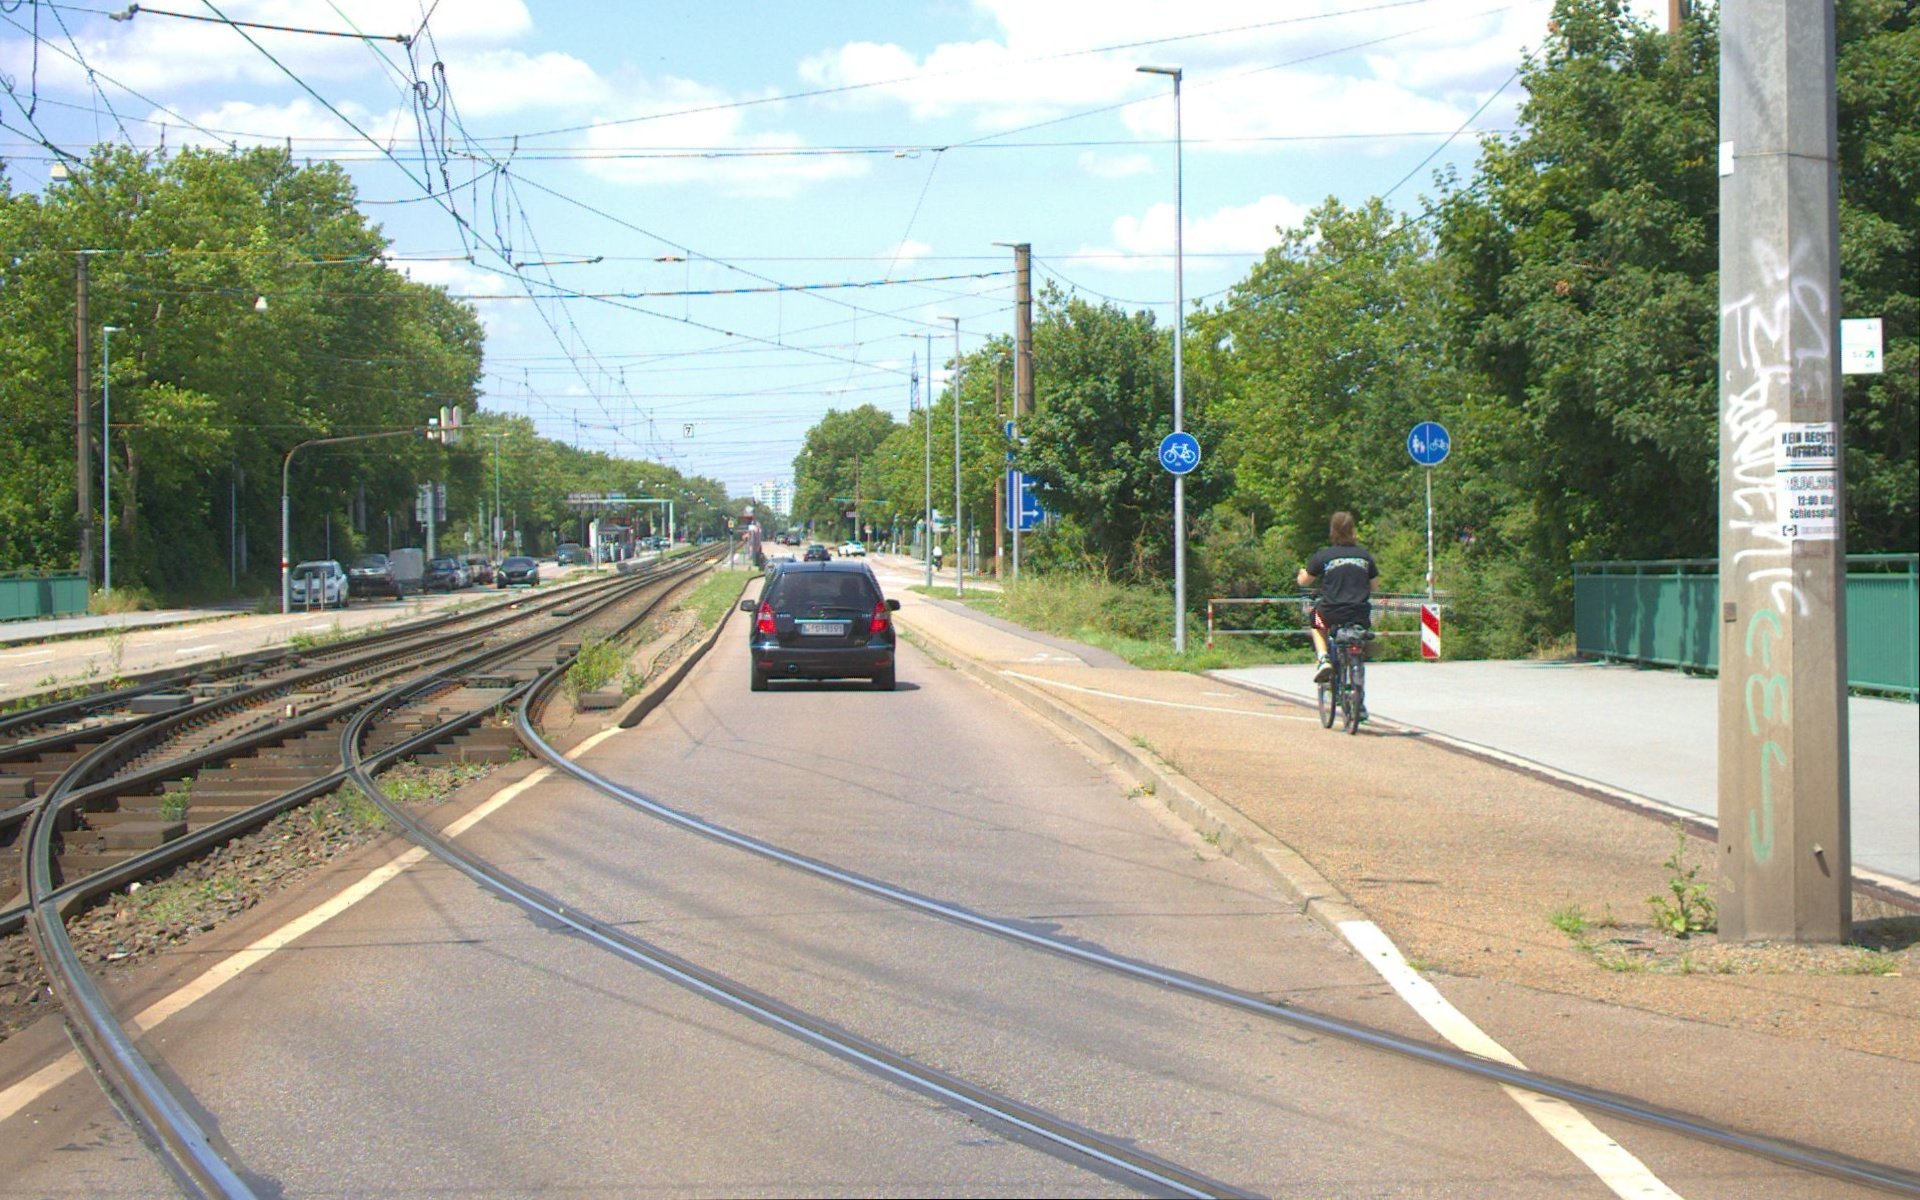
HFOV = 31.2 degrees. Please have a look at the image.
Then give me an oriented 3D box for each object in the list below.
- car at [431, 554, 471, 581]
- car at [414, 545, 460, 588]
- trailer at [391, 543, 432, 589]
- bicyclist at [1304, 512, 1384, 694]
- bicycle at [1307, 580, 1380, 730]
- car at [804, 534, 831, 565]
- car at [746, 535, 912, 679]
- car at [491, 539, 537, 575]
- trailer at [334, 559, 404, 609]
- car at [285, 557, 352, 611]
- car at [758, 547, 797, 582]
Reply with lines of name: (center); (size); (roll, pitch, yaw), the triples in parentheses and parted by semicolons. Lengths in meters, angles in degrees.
car: (-27.032, -1.736, 182.711); (1.870, 1.396, 4.419); (0, 1, -5)
car: (-26.004, -1.679, 170.990); (1.854, 2.006, 4.001); (1, 2, -3)
trailer: (-24.892, -1.546, 156.005); (1.609, 2.007, 3.917); (1, 1, -6)
bicyclist: (3.189, 0.018, 28.593); (0.585, 1.490, 0.558); (1, 2, 2)
bicycle: (3.181, 0.437, 28.602); (0.432, 1.148, 1.855); (1, 2, 2)
car: (-9.863, -3.497, 237.688); (1.786, 2.006, 4.001); (1, 2, -3)
car: (-1.582, 0.042, 42.819); (1.853, 1.564, 4.388); (1, 2, 0)
car: (-21.970, -2.118, 169.450); (1.875, 1.714, 5.331); (0, 1, -4)
trailer: (-23.281, -0.652, 135.613); (2.461, 1.882, 5.963); (0, 1, -8)
car: (-22.367, -0.579, 119.919); (1.719, 1.625, 4.617); (-3, 2, -4)
car: (-9.518, -1.864, 179.167); (1.884, 1.634, 4.001); (3, 2, -2)
